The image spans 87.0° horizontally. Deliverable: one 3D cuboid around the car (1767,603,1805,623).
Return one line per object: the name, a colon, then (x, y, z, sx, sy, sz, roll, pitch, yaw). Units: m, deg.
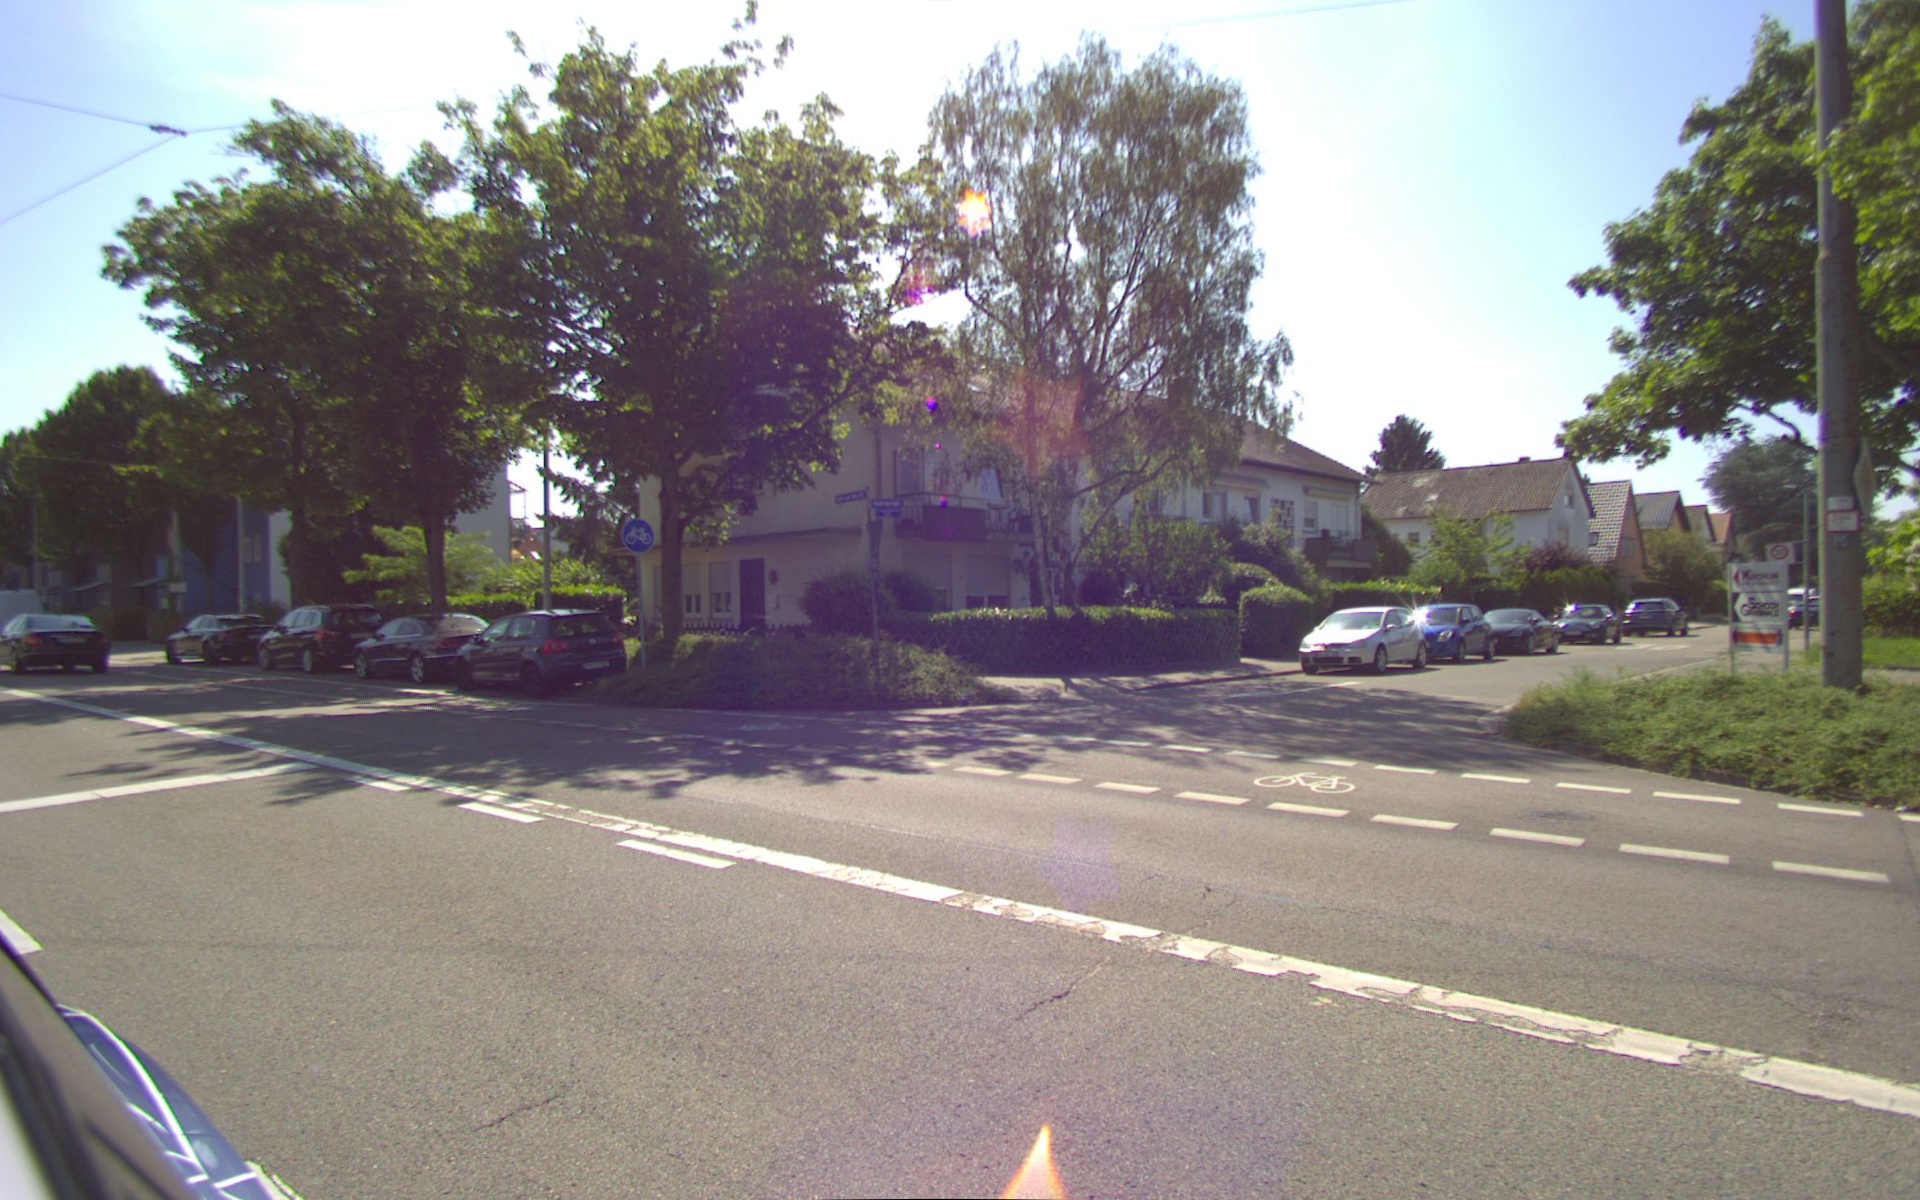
car: (62.473, 0.978, 76.513, 3.856, 1.541, 1.745, 0, -1, -44)

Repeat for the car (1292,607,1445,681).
car: (9.403, 0.933, 23.158, 3.940, 1.536, 1.809, 0, -1, -44)

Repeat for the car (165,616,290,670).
car: (-21.300, 1.218, 29.379, 4.449, 1.447, 1.660, -1, -1, 36)

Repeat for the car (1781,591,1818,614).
car: (73.520, 0.230, 88.598, 3.940, 2.029, 2.002, 0, -1, -43)

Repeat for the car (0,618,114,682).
car: (-22.333, 1.169, 24.671, 4.298, 1.420, 1.768, -1, -2, 38)

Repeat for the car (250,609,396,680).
car: (-15.953, 1.064, 25.287, 4.234, 1.625, 1.660, -1, -1, 36)

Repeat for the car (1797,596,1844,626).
car: (49.434, 0.640, 58.170, 1.999, 1.640, 3.946, -1, -1, 40)

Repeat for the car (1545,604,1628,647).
car: (22.755, 0.883, 36.713, 1.765, 1.467, 3.942, -1, -1, 44)

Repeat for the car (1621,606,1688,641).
car: (30.324, 0.982, 44.155, 1.765, 1.467, 3.942, -1, -1, 44)

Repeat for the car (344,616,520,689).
car: (-11.480, 1.071, 21.880, 4.575, 1.405, 1.680, -1, -1, 38)

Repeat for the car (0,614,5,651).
car: (-52.121, 1.776, 53.464, 4.451, 1.950, 1.659, -1, 3, 38)

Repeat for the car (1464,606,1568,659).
car: (16.781, 0.933, 30.474, 1.765, 1.467, 3.942, -1, -1, 44)

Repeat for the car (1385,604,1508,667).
car: (12.906, 0.887, 26.750, 1.808, 1.536, 3.942, -1, -1, 44)

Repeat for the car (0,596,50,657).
car: (-45.668, 1.257, 48.466, 6.078, 2.671, 1.993, -1, 3, 38)

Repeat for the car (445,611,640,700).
car: (-7.783, 0.963, 18.711, 4.078, 1.462, 1.599, -1, -1, 39)

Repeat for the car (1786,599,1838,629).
car: (44.295, 0.702, 52.642, 1.999, 1.497, 3.946, -1, -1, 40)
